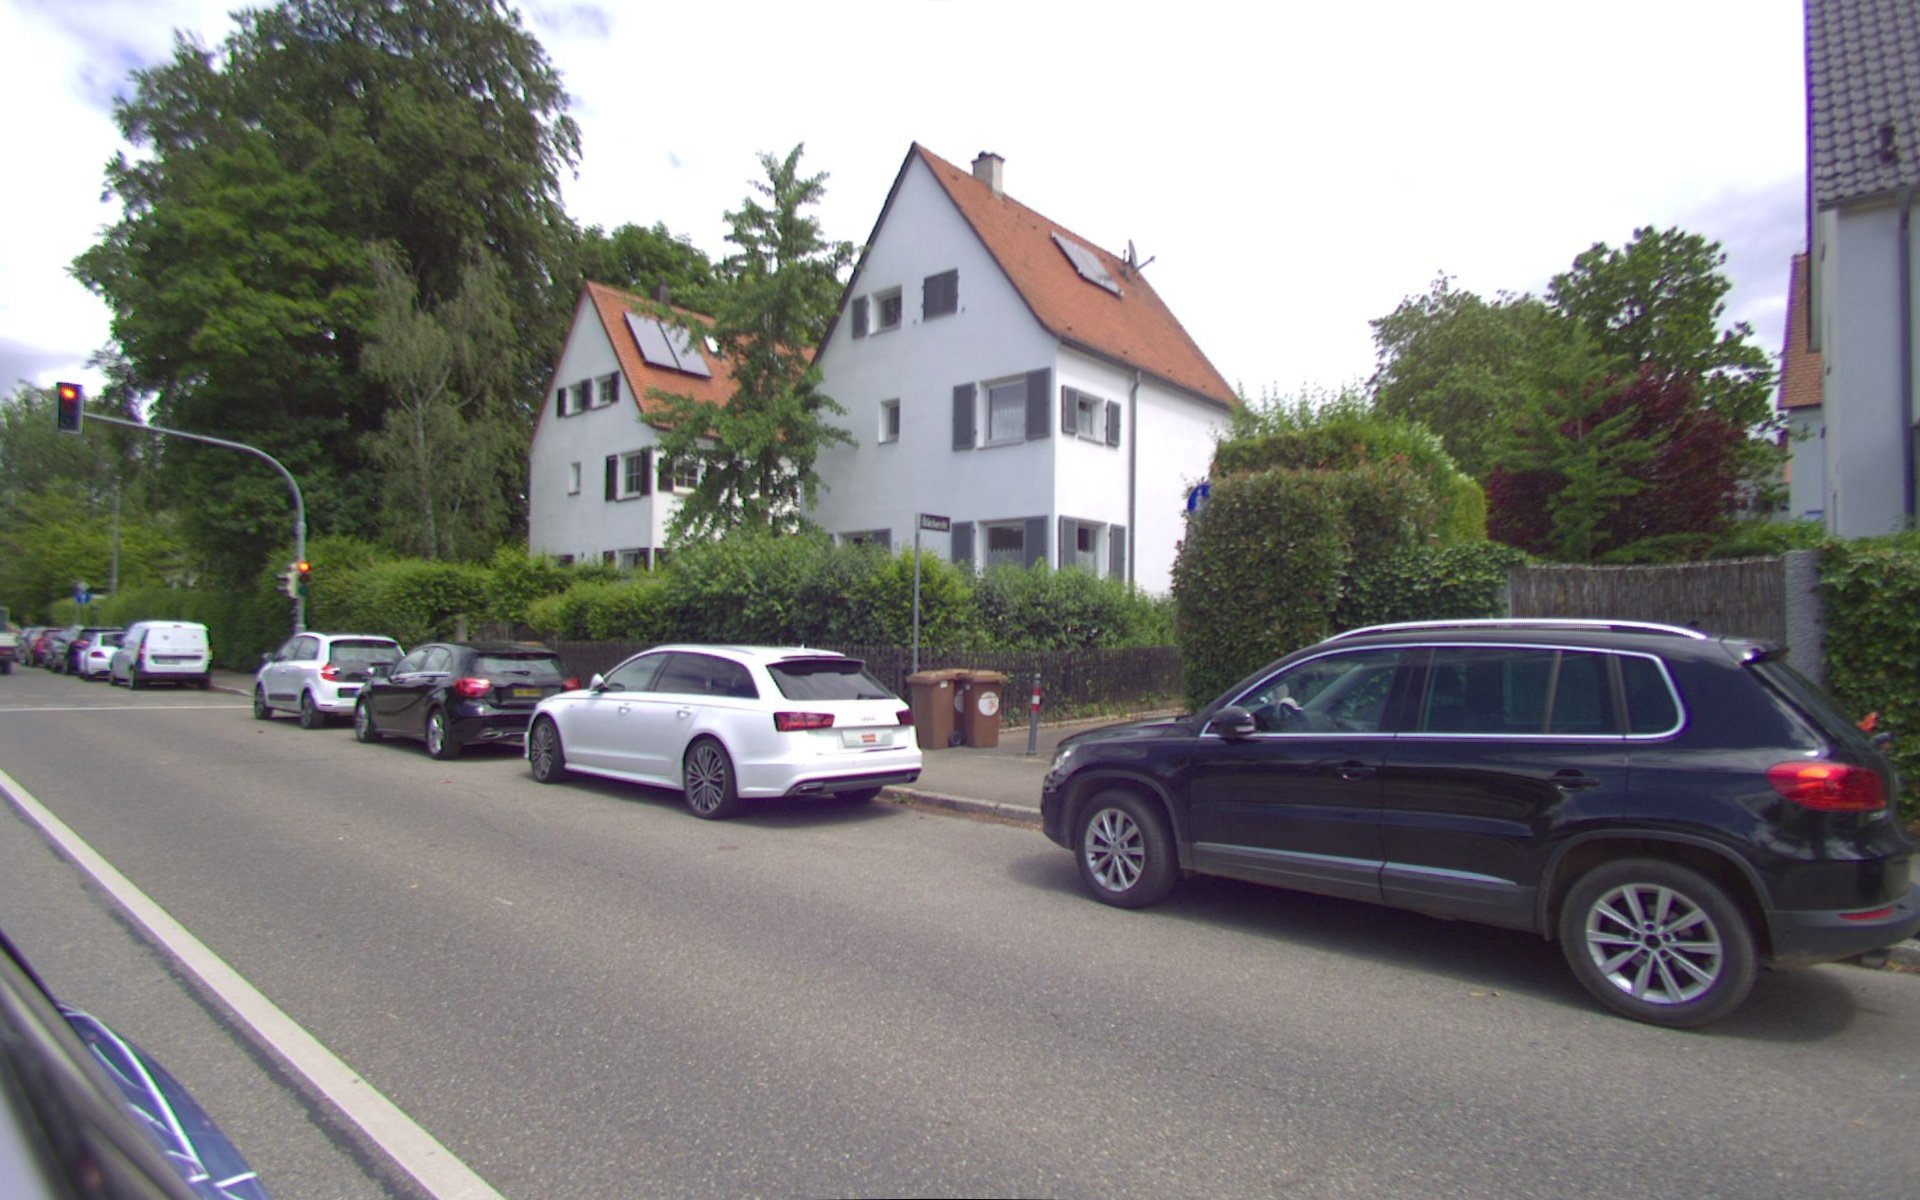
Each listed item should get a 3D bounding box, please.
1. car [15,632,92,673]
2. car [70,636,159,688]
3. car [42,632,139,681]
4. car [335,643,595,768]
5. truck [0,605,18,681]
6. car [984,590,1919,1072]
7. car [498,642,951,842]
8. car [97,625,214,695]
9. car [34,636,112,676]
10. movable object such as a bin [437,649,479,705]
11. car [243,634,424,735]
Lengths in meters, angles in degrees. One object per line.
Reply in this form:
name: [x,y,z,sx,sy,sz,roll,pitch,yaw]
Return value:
car: [-37.816,2.169,42.185,4.413,1.623,1.772,-2,-3,40]
car: [-26.037,1.892,31.122,1.685,1.464,4.360,6,-6,-44]
car: [-30.075,1.912,34.978,4.641,1.606,1.876,-2,-3,41]
car: [-6.817,1.316,13.724,4.323,1.421,1.723,-2,-5,43]
truck: [-33.182,1.392,33.622,6.904,2.390,2.165,-2,-4,43]
car: [2.415,0.911,5.497,4.581,1.691,1.609,-2,-5,41]
car: [-2.543,1.172,9.922,5.068,1.470,1.786,-2,-5,43]
car: [-22.058,1.621,27.687,4.606,1.772,1.659,-2,-5,42]
car: [-33.854,2.097,38.596,4.235,1.470,1.715,-2,-3,42]
movable object such as a bin: [-10.340,1.570,20.845,0.749,1.088,0.510,-2,0,42]
car: [-10.824,1.387,17.393,3.743,1.555,1.684,-2,-5,43]
